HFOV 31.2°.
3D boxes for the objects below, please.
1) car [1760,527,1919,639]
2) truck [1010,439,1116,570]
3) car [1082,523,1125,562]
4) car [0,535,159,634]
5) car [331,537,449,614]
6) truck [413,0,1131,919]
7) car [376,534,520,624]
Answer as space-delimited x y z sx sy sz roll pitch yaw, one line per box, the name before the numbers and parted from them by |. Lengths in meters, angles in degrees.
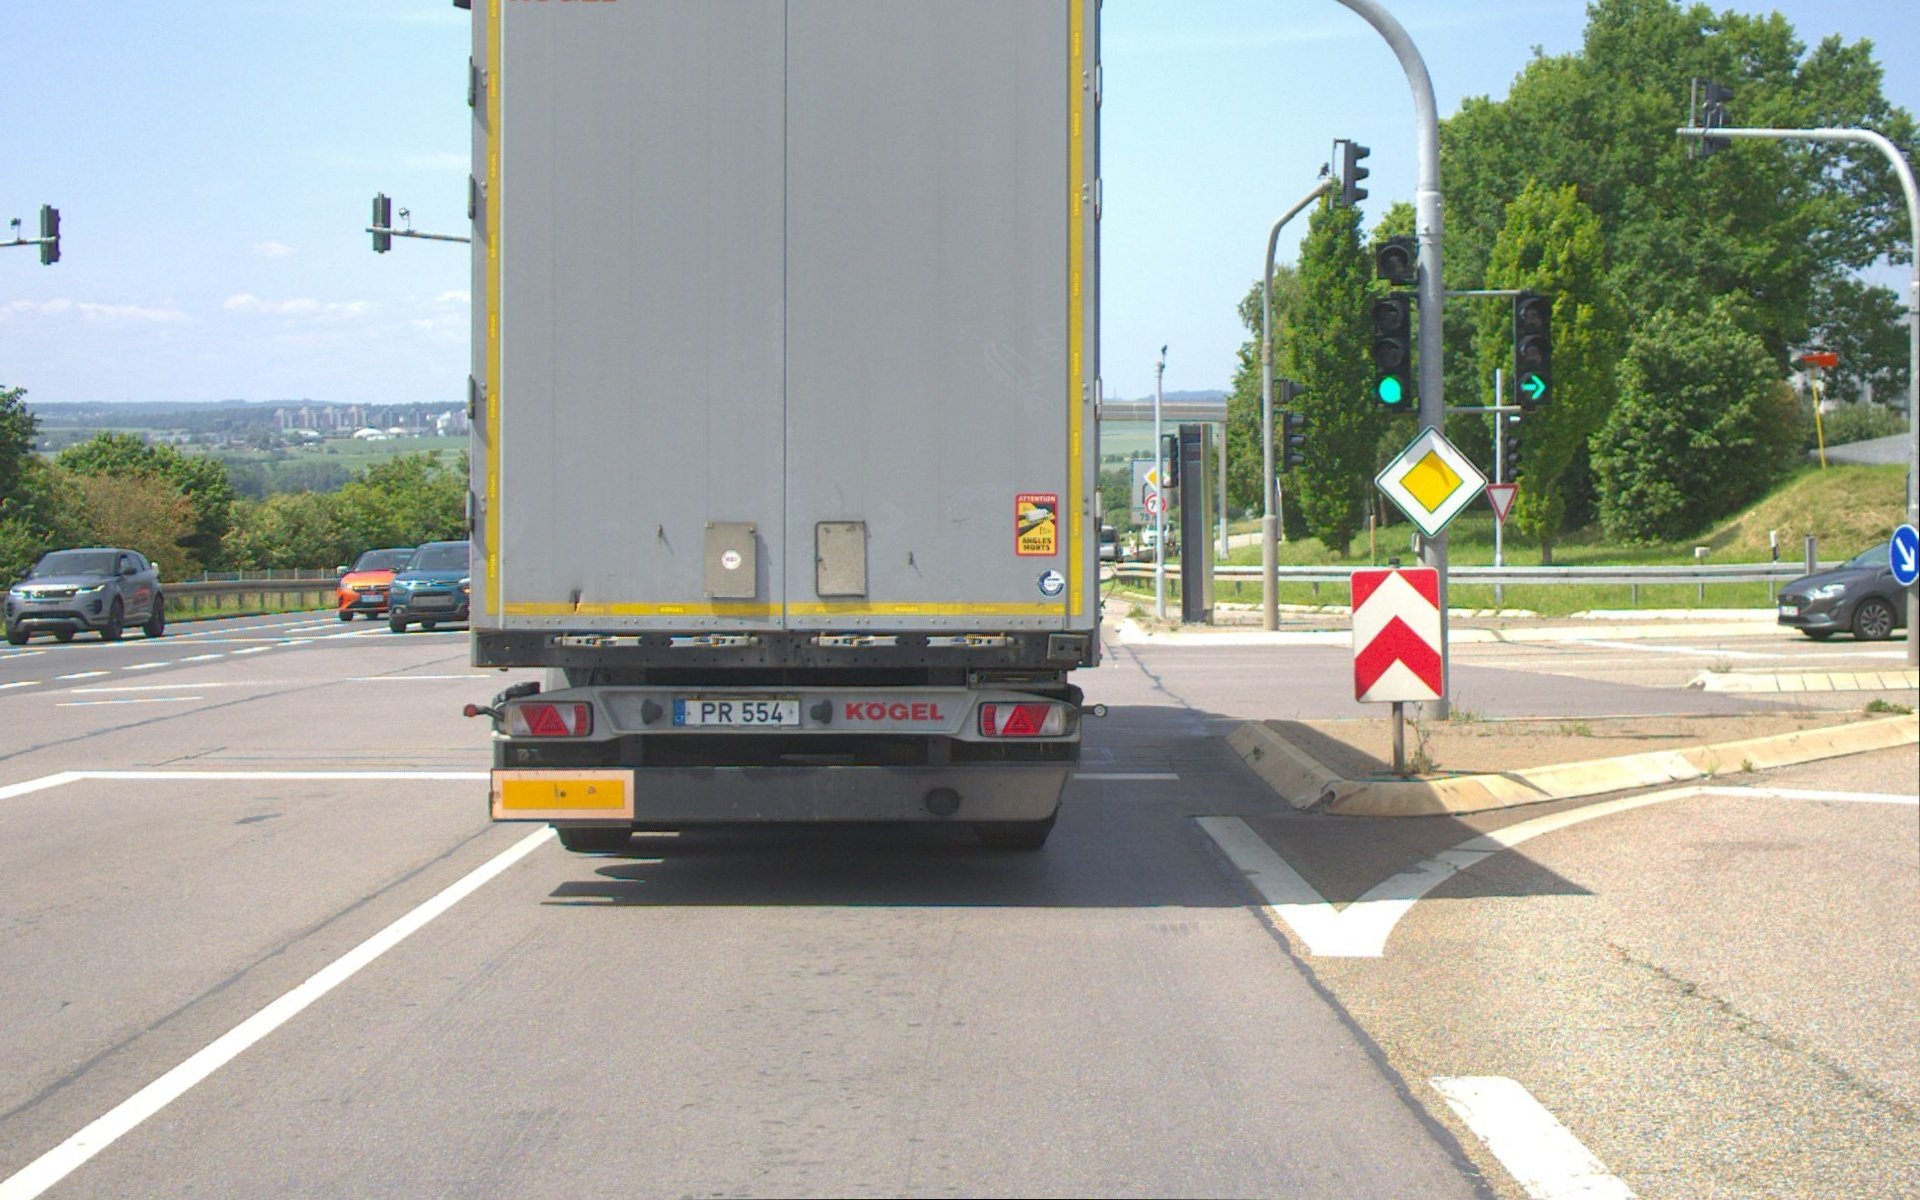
car | 13.319 -0.247 47.632 3.986 1.505 1.717 0 1 -9
truck | 3.211 -2.814 104.427 2.656 3.751 10.160 1 1 5
car | 6.416 -2.575 153.478 1.786 1.682 3.999 1 1 4
car | -15.410 -0.280 60.302 1.644 1.618 4.328 -2 0 0
car | -11.865 -0.528 71.779 1.644 1.491 4.066 -2 1 2
truck | -1.014 -0.833 19.247 2.799 3.916 11.343 1 1 -3
car | -8.690 -0.386 58.651 1.755 1.464 4.196 -1 1 1
